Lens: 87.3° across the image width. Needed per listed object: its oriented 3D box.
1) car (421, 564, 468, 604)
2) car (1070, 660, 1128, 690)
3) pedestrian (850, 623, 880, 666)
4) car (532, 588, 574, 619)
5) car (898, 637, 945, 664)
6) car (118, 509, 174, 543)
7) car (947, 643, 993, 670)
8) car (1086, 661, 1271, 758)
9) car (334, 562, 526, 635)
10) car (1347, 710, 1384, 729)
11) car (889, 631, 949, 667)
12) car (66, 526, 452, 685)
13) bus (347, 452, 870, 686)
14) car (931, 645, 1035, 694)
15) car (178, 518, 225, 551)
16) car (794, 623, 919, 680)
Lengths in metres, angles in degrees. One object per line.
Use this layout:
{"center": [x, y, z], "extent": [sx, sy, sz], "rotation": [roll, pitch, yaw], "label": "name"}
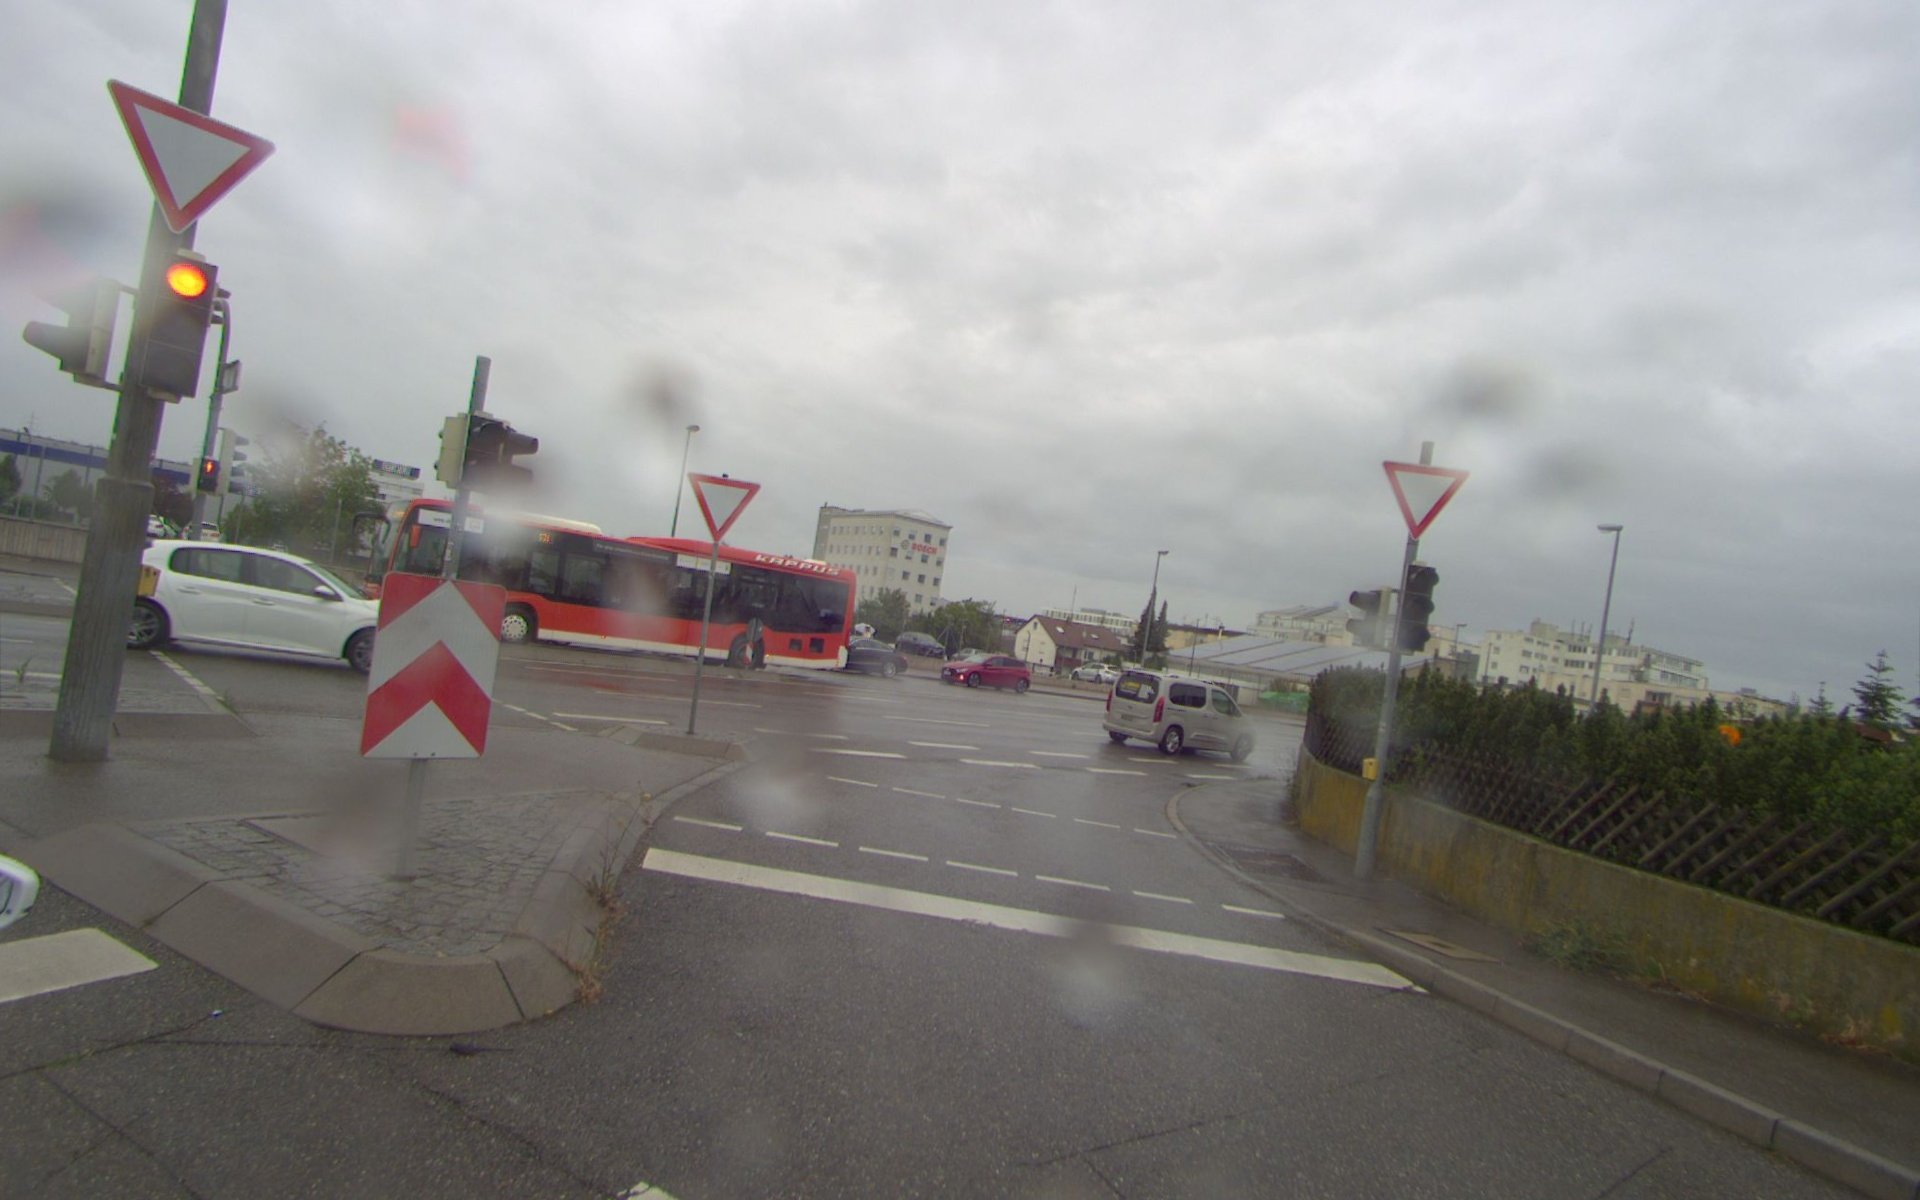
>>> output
{"center": [-30.820, -0.957, 60.086], "extent": [1.734, 2.037, 3.786], "rotation": [8, -2, -37], "label": "car"}
{"center": [9.656, 5.213, 70.115], "extent": [1.976, 1.561, 3.977], "rotation": [9, -2, -25], "label": "car"}
{"center": [-4.096, 1.919, 43.424], "extent": [0.819, 1.723, 0.893], "rotation": [8, -1, -30], "label": "pedestrian"}
{"center": [-32.021, 0.275, 79.033], "extent": [1.983, 2.037, 3.962], "rotation": [8, -2, -36], "label": "car"}
{"center": [-3.171, 4.062, 81.419], "extent": [1.980, 1.636, 3.970], "rotation": [9, -2, -30], "label": "car"}
{"center": [-45.611, -4.115, 56.446], "extent": [1.805, 1.450, 4.071], "rotation": [8, -2, -32], "label": "car"}
{"center": [0.796, 4.677, 83.707], "extent": [1.980, 1.636, 3.970], "rotation": [9, -2, -30], "label": "car"}
{"center": [5.387, 2.689, 24.476], "extent": [4.454, 1.865, 1.977], "rotation": [9, -2, -41], "label": "car"}
{"center": [-14.819, -0.011, 28.281], "extent": [4.367, 1.370, 1.804], "rotation": [10, -3, -42], "label": "car"}
{"center": [41.280, 12.138, 102.386], "extent": [3.616, 1.436, 1.720], "rotation": [10, -2, -36], "label": "car"}
{"center": [-2.554, 2.973, 61.651], "extent": [1.912, 1.684, 3.869], "rotation": [9, -2, -29], "label": "car"}
{"center": [-9.216, 0.122, 13.682], "extent": [3.937, 1.525, 1.858], "rotation": [9, -2, -29], "label": "car"}
{"center": [-8.273, -0.376, 25.908], "extent": [12.223, 3.614, 2.952], "rotation": [12, -4, -41], "label": "bus"}
{"center": [0.983, 2.900, 42.047], "extent": [3.948, 1.525, 1.853], "rotation": [9, -2, -36], "label": "car"}
{"center": [-43.824, -3.761, 58.214], "extent": [1.847, 1.543, 4.066], "rotation": [8, -2, -35], "label": "car"}
{"center": [-3.891, 1.975, 38.184], "extent": [4.367, 1.555, 1.804], "rotation": [10, -3, -42], "label": "car"}
